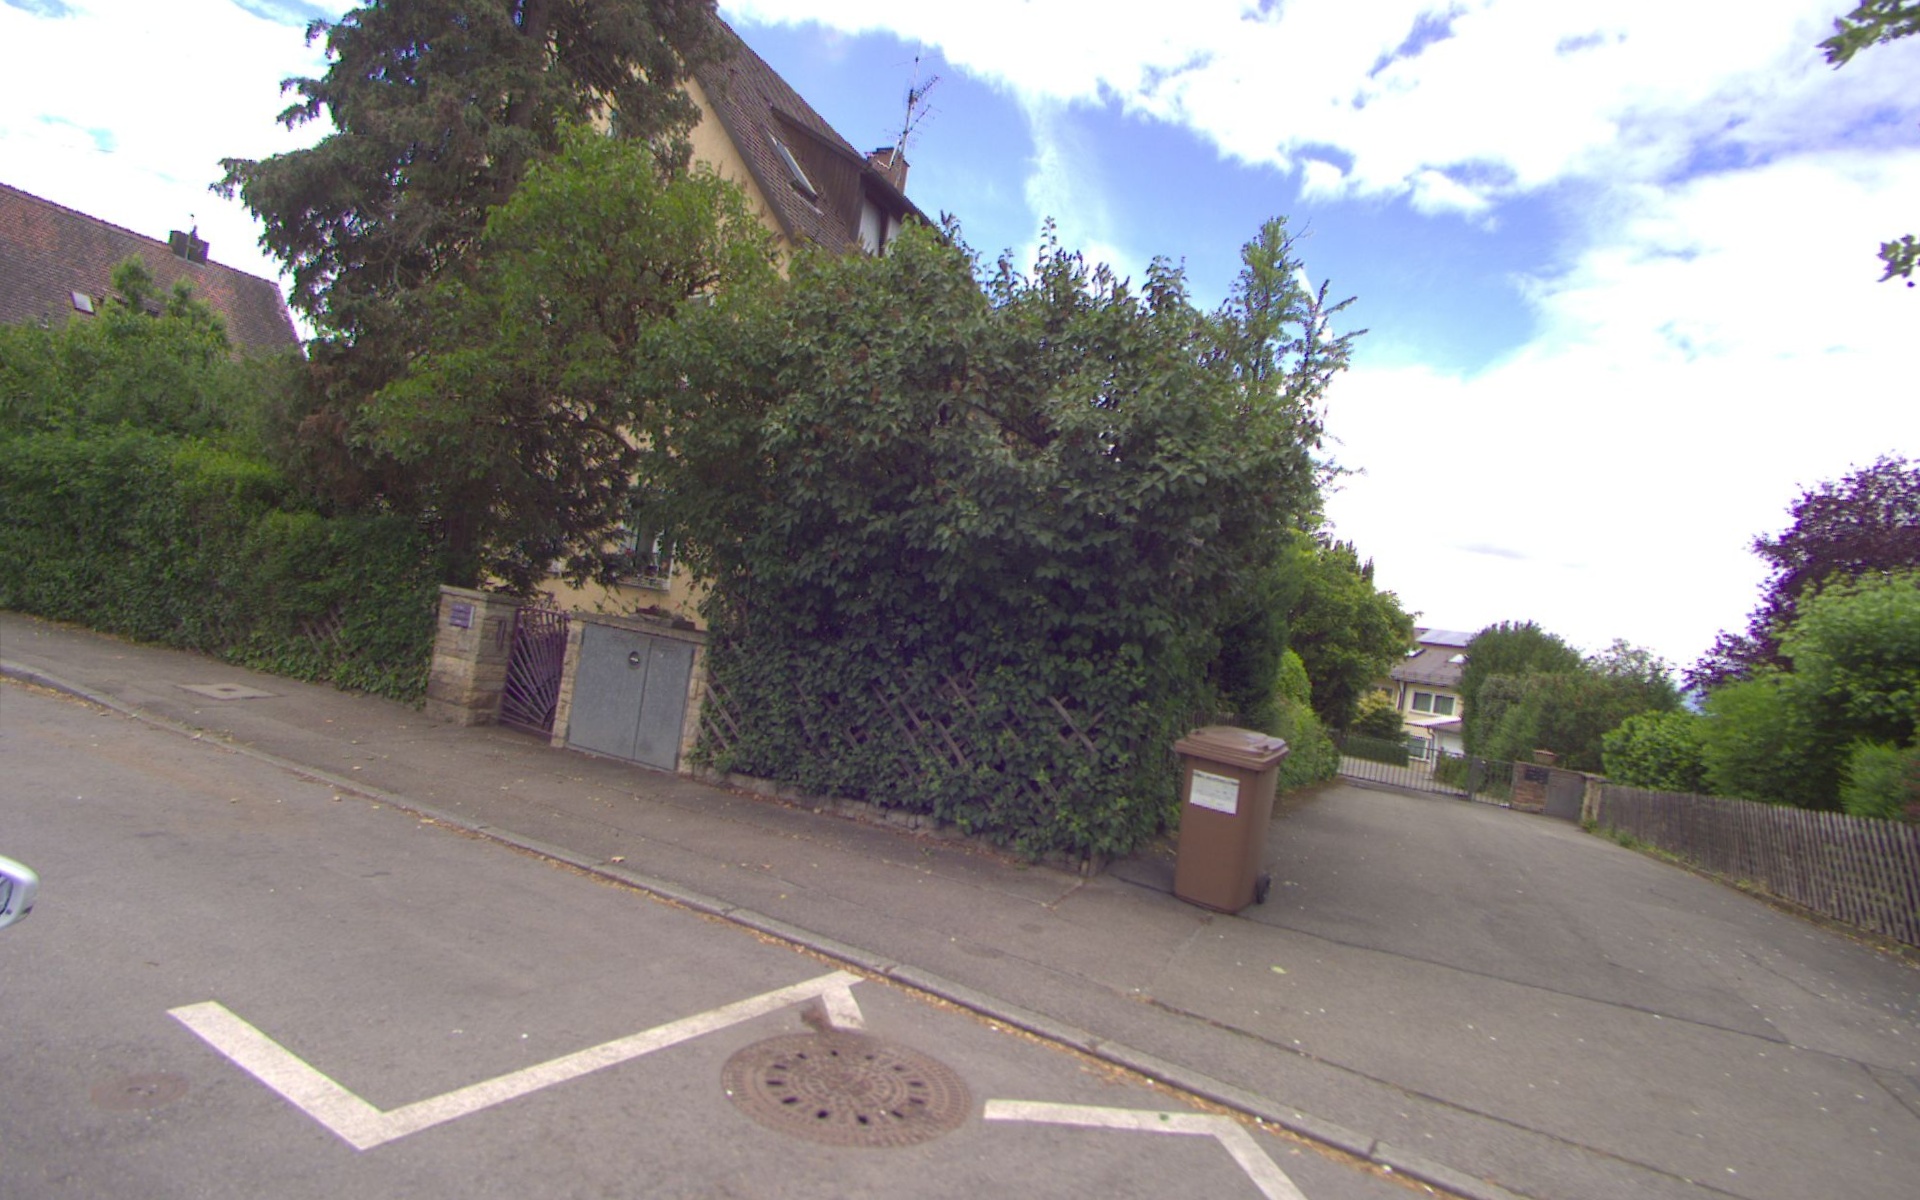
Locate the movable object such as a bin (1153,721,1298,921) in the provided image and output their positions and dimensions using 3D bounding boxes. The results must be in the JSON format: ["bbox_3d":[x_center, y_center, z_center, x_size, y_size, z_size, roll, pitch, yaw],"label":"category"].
[{"bbox_3d":[1.656,1.350,6.256,0.560,1.080,0.604,6,-4,38],"label":"movable object such as a bin"}]
